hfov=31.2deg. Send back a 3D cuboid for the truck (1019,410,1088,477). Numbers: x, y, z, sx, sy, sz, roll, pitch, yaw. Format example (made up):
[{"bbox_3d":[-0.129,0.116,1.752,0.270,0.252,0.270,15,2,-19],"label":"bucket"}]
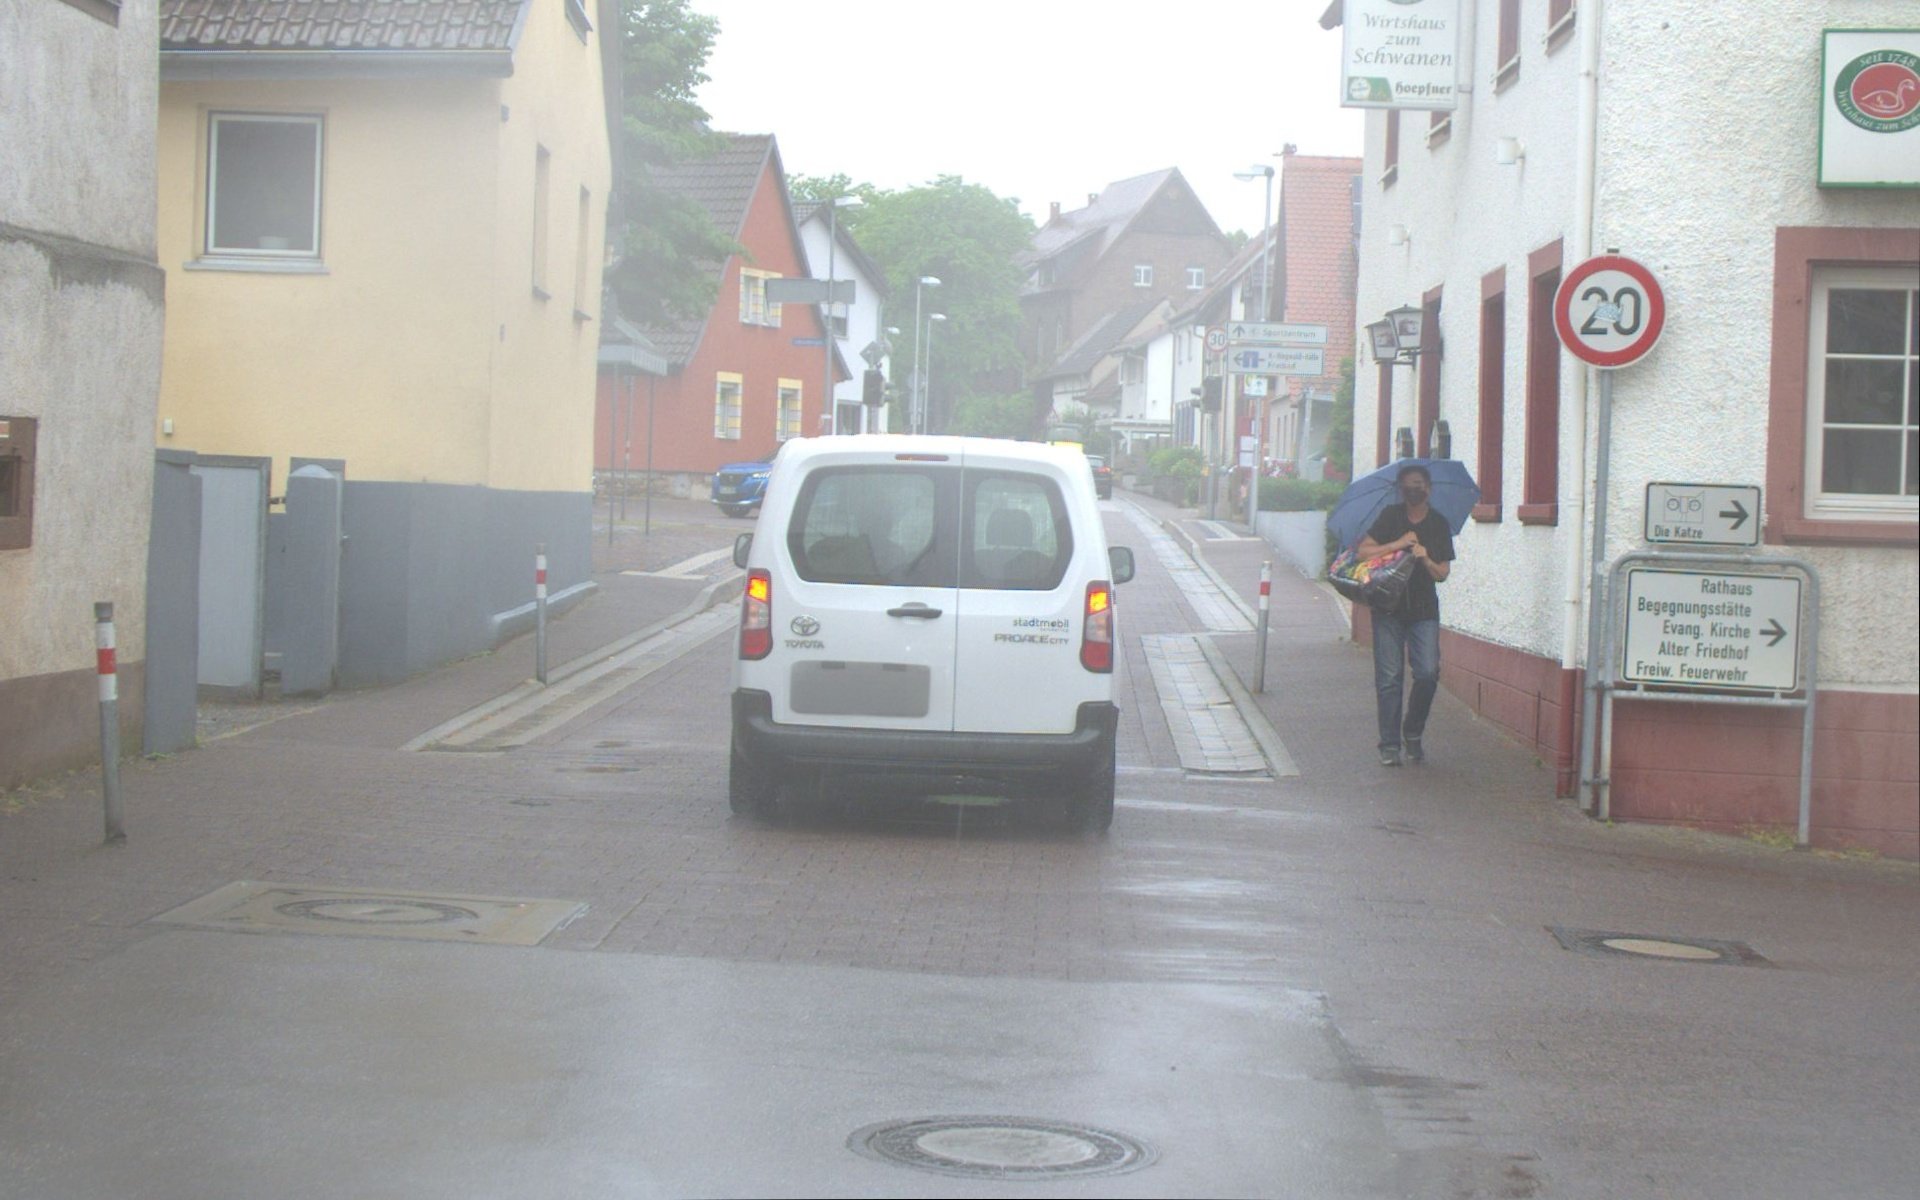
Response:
[{"bbox_3d":[3.507,-5.889,129.903,2.350,2.417,4.950,1,2,0],"label":"truck"}]

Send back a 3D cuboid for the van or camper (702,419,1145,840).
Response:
[{"bbox_3d":[-0.189,0.079,17.218,1.943,1.844,4.000,1,1,-1],"label":"van or camper"}]

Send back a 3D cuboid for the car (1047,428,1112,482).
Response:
[{"bbox_3d":[4.012,-4.862,116.008,1.993,1.741,4.001,1,2,0],"label":"car"}]

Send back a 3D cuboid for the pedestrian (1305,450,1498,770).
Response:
[{"bbox_3d":[2.492,0.038,19.534,0.994,1.730,0.811,2,4,5],"label":"pedestrian"}]

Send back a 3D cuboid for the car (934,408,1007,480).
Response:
[{"bbox_3d":[0.270,-4.065,89.033,1.812,1.773,4.018,1,3,0],"label":"car"}]

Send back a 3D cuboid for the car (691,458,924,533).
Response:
[{"bbox_3d":[-2.949,-2.029,66.758,3.987,1.368,2.111,0,2,-35],"label":"car"}]
